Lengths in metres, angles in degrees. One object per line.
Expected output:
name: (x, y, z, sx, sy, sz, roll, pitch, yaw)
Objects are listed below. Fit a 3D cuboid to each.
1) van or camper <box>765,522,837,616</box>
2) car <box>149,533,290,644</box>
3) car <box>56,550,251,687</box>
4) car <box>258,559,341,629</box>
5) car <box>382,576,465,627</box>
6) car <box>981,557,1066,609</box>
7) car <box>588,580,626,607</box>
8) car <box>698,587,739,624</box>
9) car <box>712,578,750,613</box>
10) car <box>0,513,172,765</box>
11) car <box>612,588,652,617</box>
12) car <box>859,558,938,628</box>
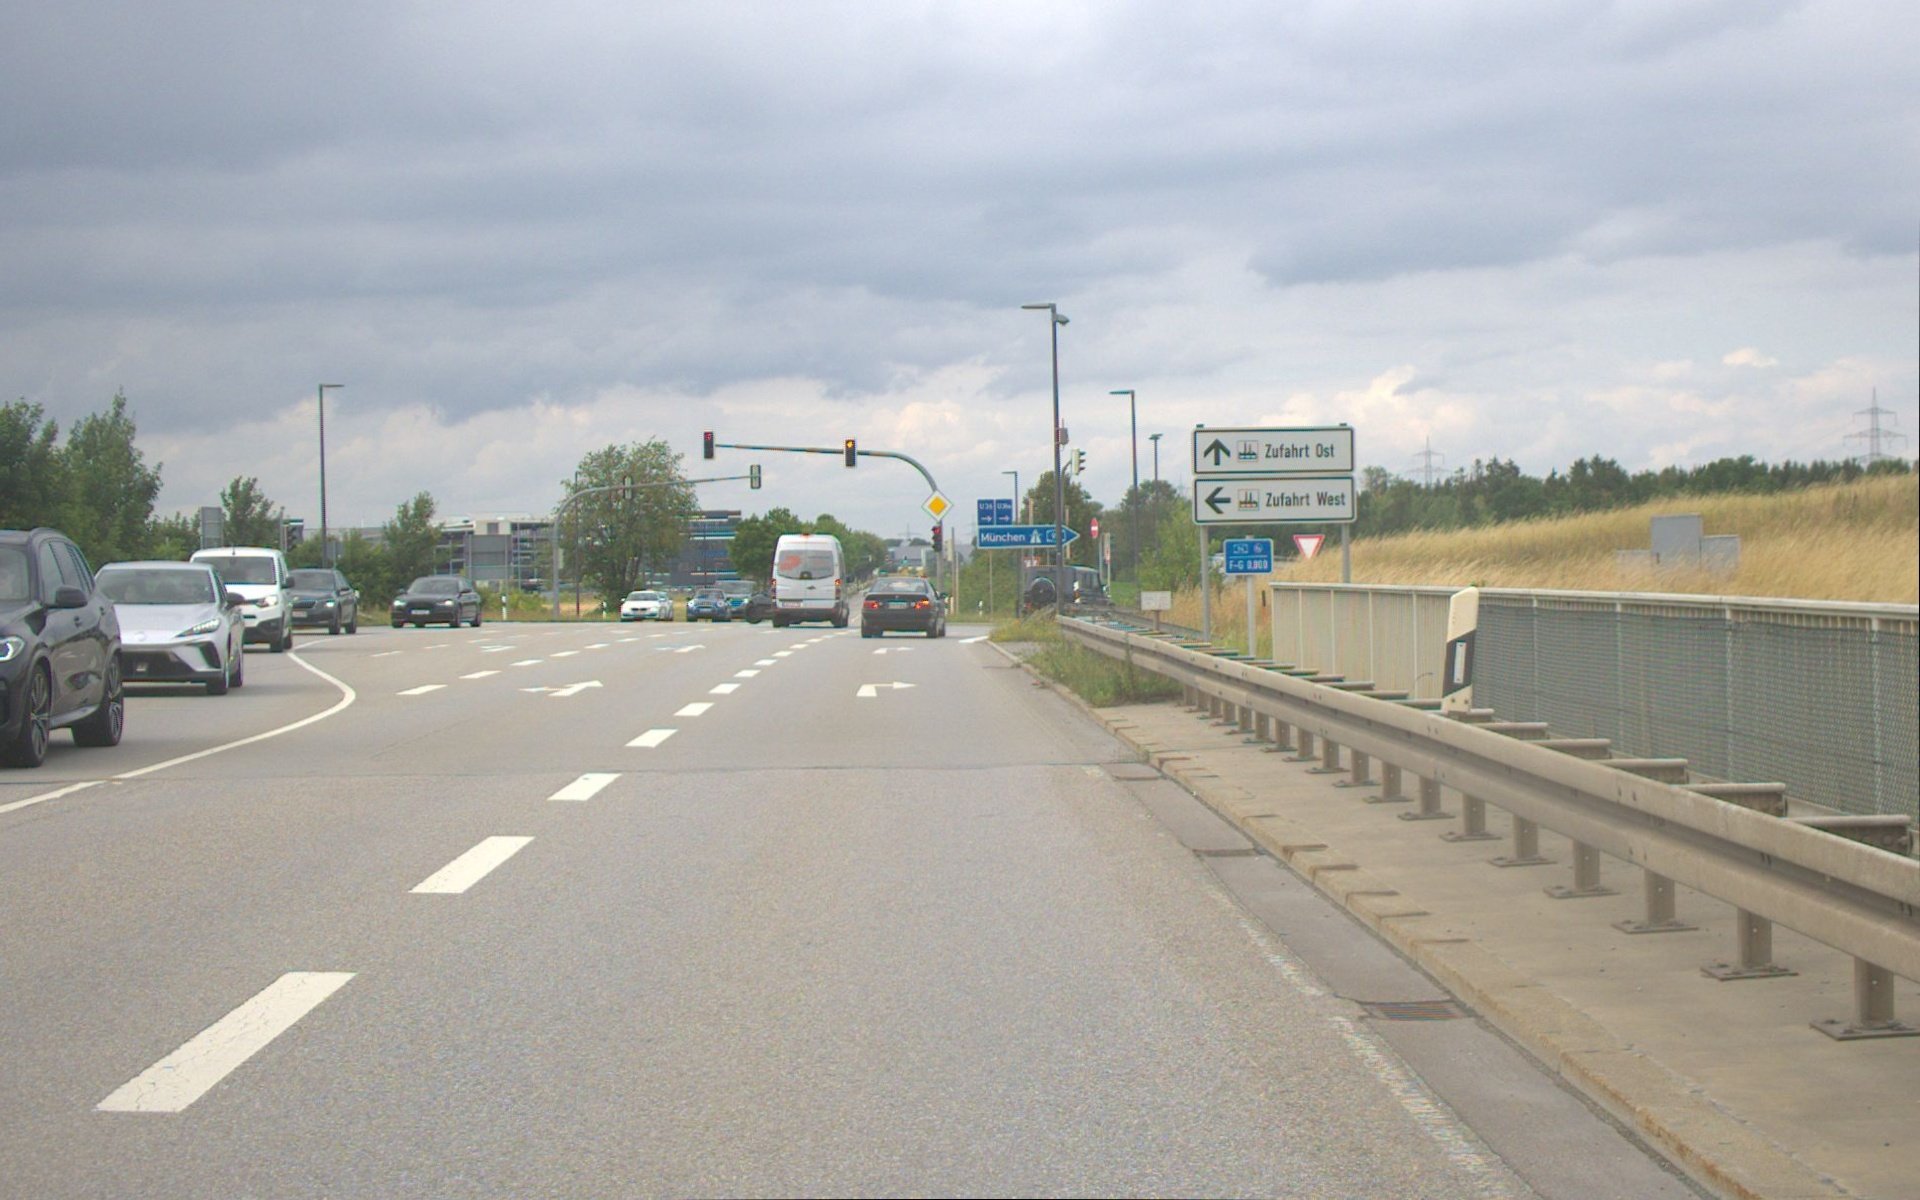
van or camper: (-4.491, -0.875, 97.700, 1.876, 2.572, 4.000, 1, 0, -1)
car: (-12.919, -0.203, 60.221, 1.953, 1.868, 4.821, 0, 0, -7)
car: (-9.230, 0.189, 39.619, 1.711, 1.481, 4.280, 0, 0, -7)
car: (-15.251, -0.147, 79.549, 1.582, 1.552, 4.147, 0, 0, -7)
car: (-15.105, 0.024, 97.002, 1.808, 1.364, 4.786, -1, 1, -3)
car: (1.948, -0.530, 104.509, 1.683, 1.539, 3.613, 0, 0, 16)
car: (-16.925, -0.321, 164.900, 1.480, 1.278, 3.533, -1, 0, 0)
car: (-10.475, 0.221, 149.293, 1.693, 1.364, 3.944, 0, 4, -3)
car: (-10.522, -0.215, 158.318, 1.693, 1.364, 3.944, 0, 4, -3)
car: (-7.491, 0.249, 25.870, 1.993, 1.726, 4.762, 0, 0, 0)
car: (-14.965, 0.106, 157.105, 1.480, 1.278, 3.533, -1, 0, 0)
car: (-1.341, -0.167, 75.907, 1.518, 1.480, 3.615, 0, 0, 3)
